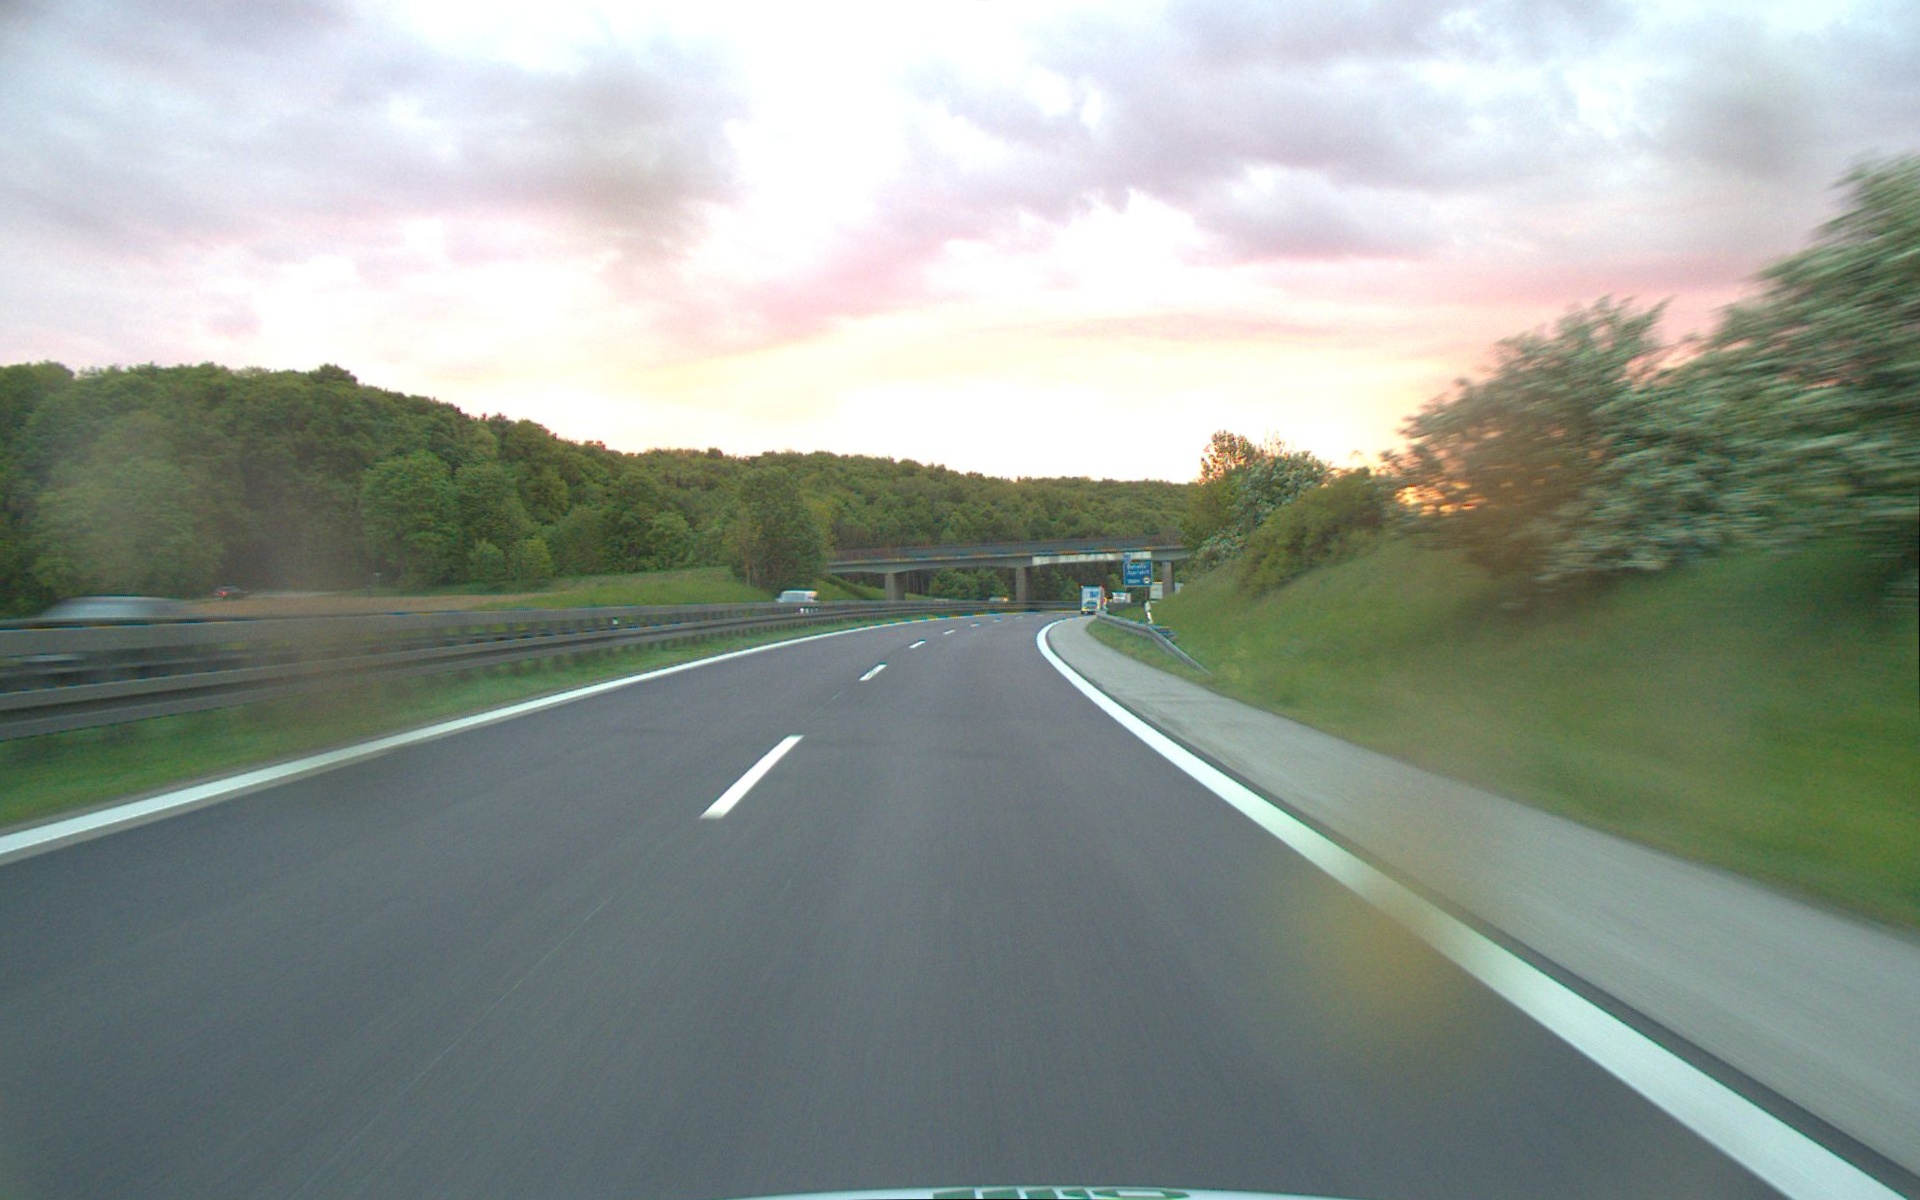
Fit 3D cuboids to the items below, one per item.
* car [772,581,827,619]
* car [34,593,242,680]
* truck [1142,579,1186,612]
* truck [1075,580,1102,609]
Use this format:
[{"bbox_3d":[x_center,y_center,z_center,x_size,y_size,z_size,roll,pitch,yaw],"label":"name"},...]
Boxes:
[{"bbox_3d":[-10.220,-0.039,105.688,2.234,2.048,5.262,-6,0,7],"label":"car"},{"bbox_3d":[-14.633,0.602,29.690,1.605,1.310,3.951,-4,1,1],"label":"car"},{"bbox_3d":[28.570,-0.639,230.992,3.874,4.362,14.332,-1,0,16],"label":"truck"},{"bbox_3d":[12.699,-0.535,163.291,2.227,2.711,5.241,-2,1,8],"label":"truck"}]
